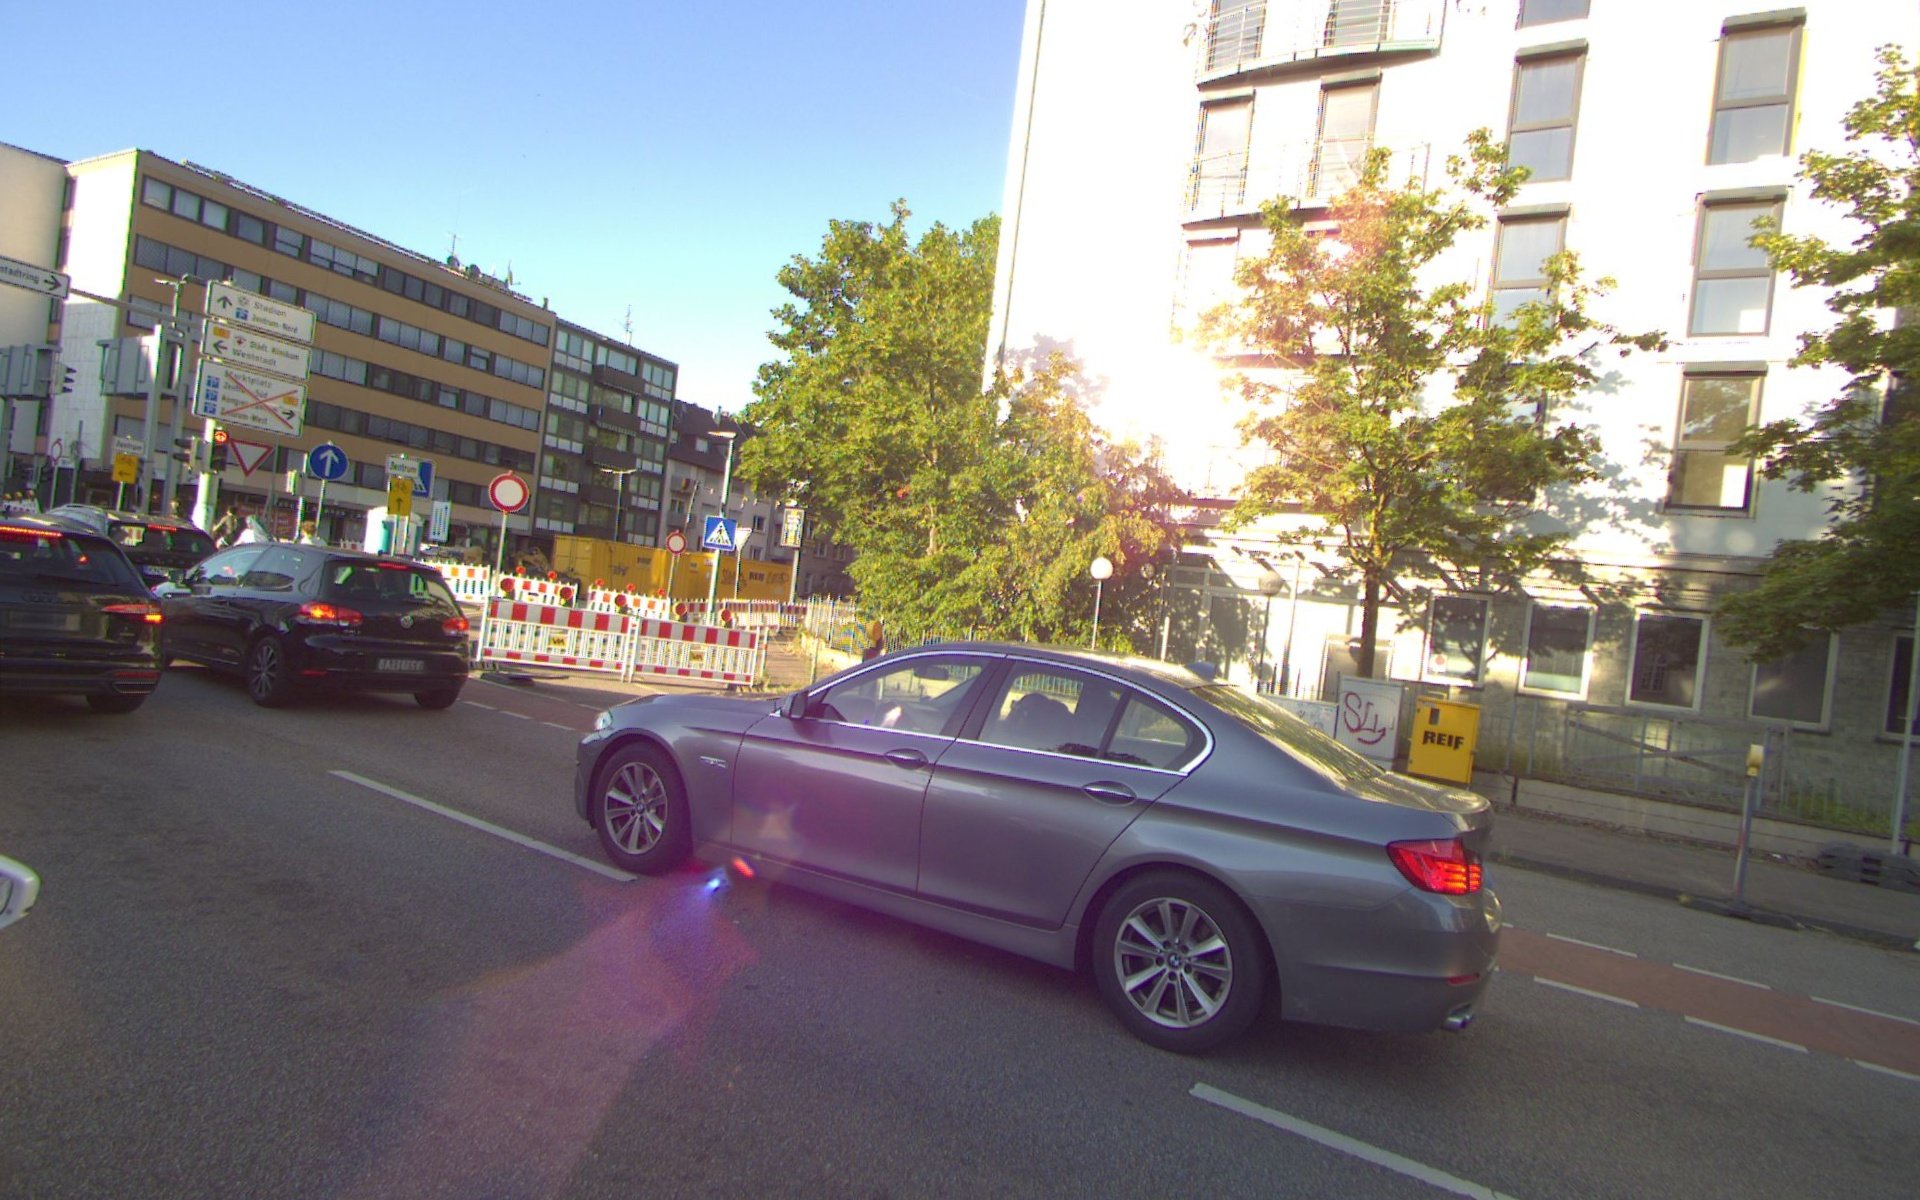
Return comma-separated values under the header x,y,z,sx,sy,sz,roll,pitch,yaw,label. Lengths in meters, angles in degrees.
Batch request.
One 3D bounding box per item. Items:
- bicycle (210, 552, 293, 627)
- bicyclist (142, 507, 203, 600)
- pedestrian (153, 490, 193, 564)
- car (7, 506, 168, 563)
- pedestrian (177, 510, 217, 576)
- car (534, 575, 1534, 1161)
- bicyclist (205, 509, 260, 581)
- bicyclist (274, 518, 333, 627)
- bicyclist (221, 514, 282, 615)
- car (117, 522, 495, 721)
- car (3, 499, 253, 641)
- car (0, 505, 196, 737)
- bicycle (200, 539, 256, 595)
x,y,z,sx,sy,sz,roll,pitch,yaw,label
-11.479,-0.177,16.279,1.825,1.020,0.337,7,0,32,bicycle
-13.953,-0.826,17.823,0.713,1.544,0.514,7,0,32,bicyclist
-20.889,-1.939,26.692,0.479,1.857,0.570,7,0,34,pedestrian
-31.461,-2.316,36.402,1.652,1.435,3.997,7,-1,26,car
-20.741,-1.549,27.348,0.447,1.691,0.602,7,0,33,pedestrian
0.191,0.910,5.137,4.587,1.466,1.819,7,-1,29,car
-17.604,-1.332,24.353,0.800,1.608,0.619,8,0,28,bicyclist
-9.806,-0.407,15.036,0.474,1.544,0.441,7,0,31,bicyclist
-11.497,-0.571,16.325,0.713,1.544,0.441,7,0,32,bicyclist
-6.605,0.189,10.085,3.683,1.466,1.637,7,-2,32,car
-11.087,-0.418,13.376,3.250,1.467,1.507,7,0,32,car
-7.659,-0.049,7.463,4.144,1.437,1.685,7,-2,32,car
-17.776,-0.802,24.408,1.474,1.175,0.373,8,-1,28,bicycle
